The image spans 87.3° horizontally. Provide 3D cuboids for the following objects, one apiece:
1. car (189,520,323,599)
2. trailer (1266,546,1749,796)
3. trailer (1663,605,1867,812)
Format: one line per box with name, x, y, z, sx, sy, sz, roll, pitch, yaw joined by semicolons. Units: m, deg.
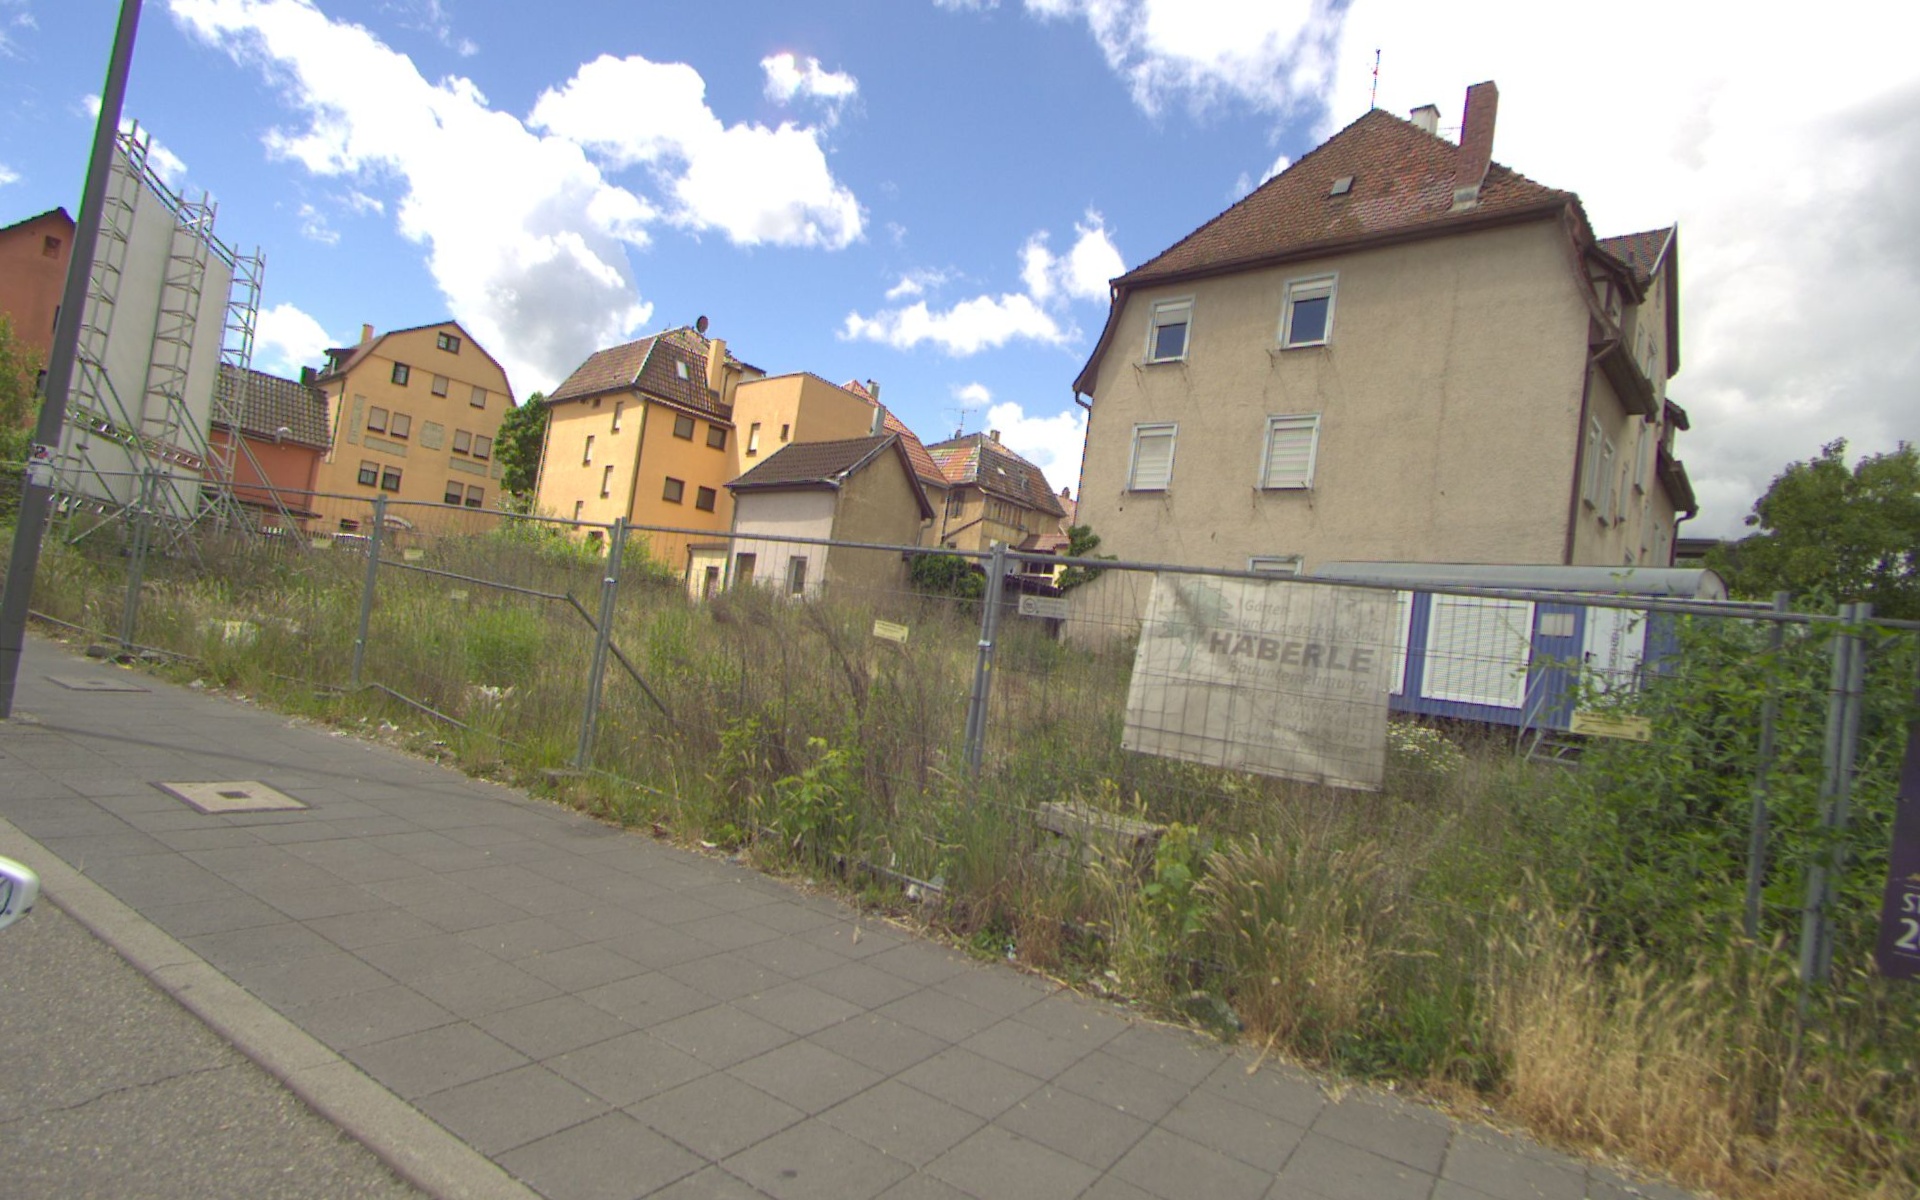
car;-13.098;-0.760;18.702;2.405;1.134;1.074;7;-1;32
trailer;8.409;0.955;16.061;2.399;3.157;6.087;9;-3;-43
trailer;15.444;2.132;19.115;2.380;3.157;6.134;6;-3;43
